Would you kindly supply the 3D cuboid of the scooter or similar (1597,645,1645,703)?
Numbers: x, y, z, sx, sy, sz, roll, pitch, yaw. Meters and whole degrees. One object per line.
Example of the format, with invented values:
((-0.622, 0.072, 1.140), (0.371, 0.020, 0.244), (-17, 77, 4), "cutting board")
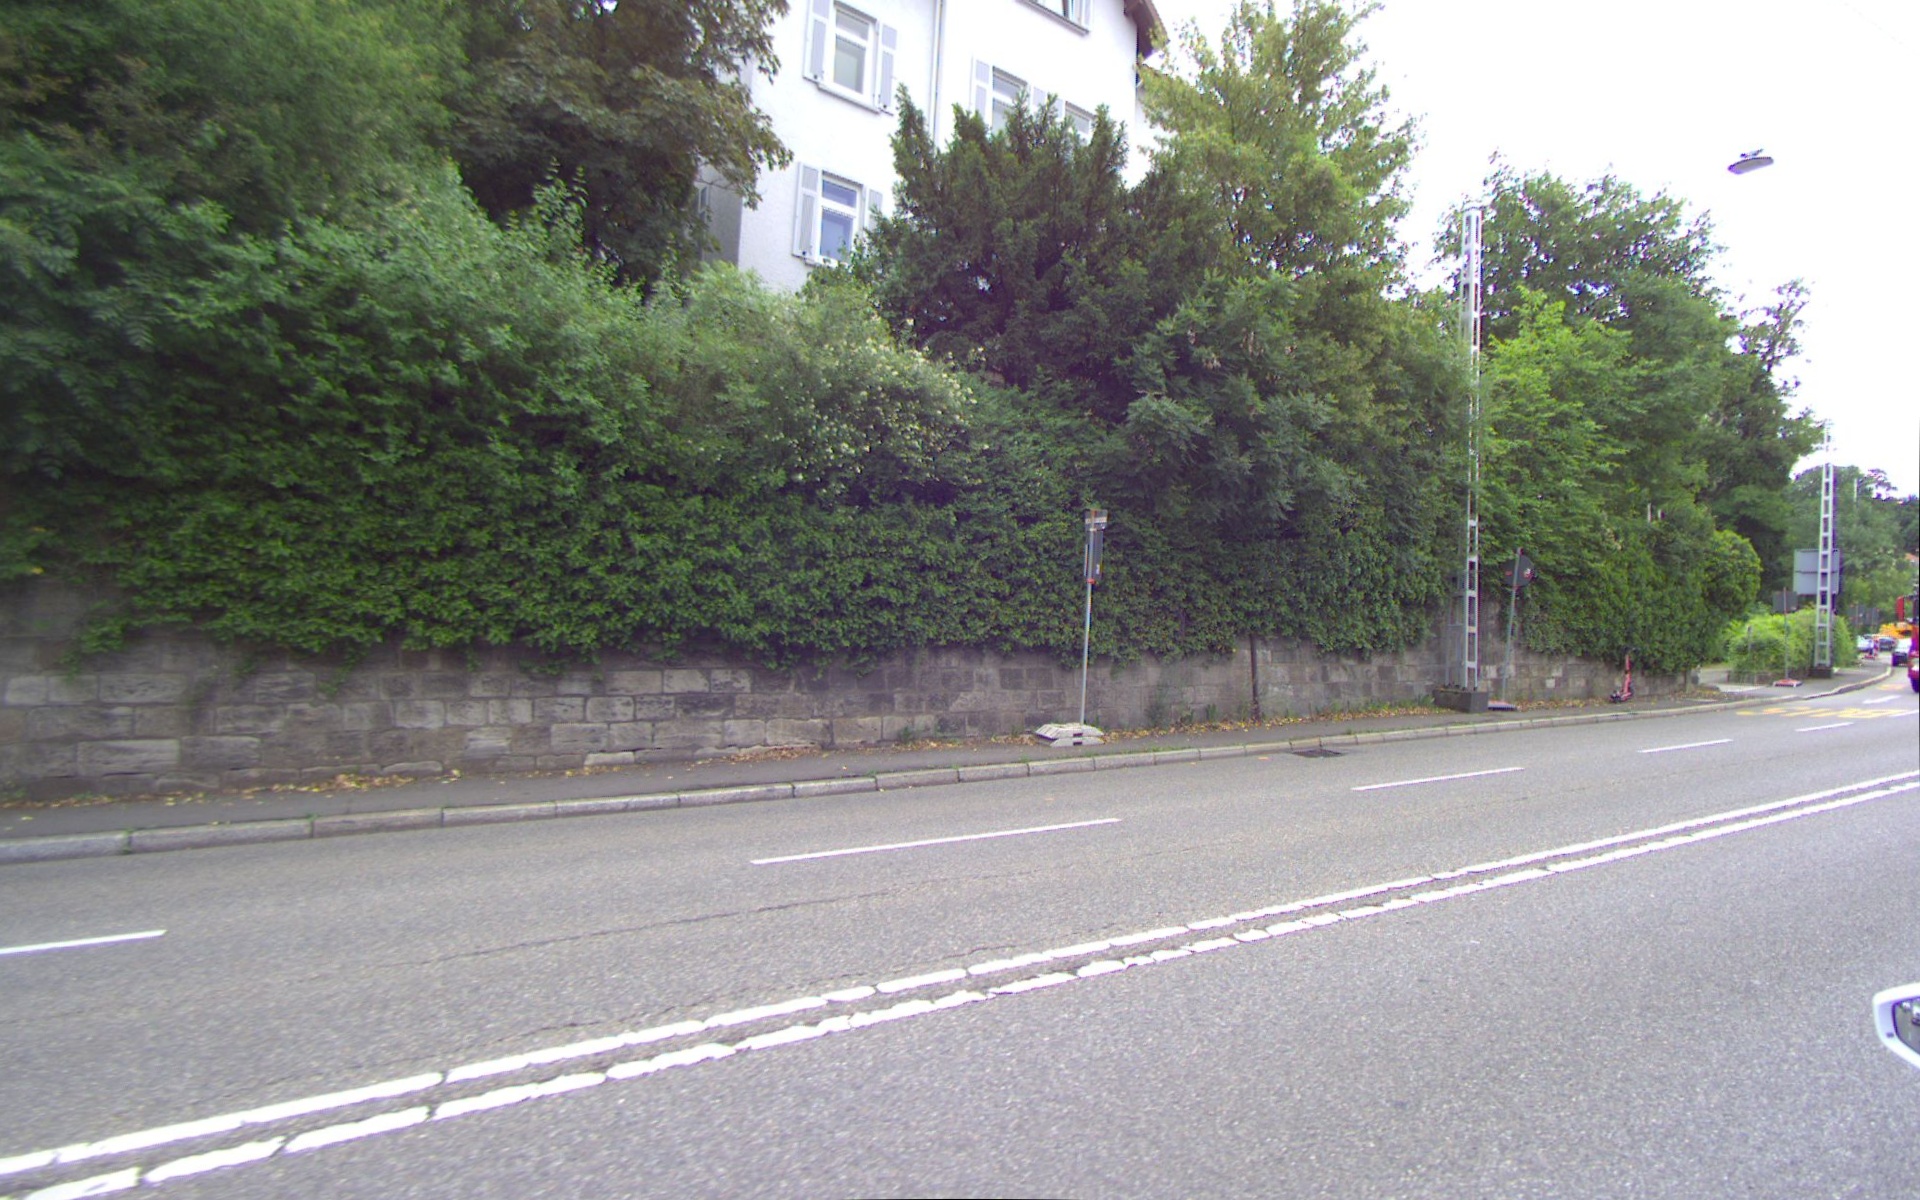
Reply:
((14.618, 1.618, 22.198), (1.269, 1.221, 0.533), (2, 0, -41), "scooter or similar")

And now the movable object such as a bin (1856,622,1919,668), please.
((80.707, 3.878, 86.712), (3.481, 3.748, 7.480), (-1, -2, 30), "movable object such as a bin")

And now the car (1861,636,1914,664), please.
((48.871, 2.632, 52.986), (1.874, 1.400, 3.980), (-2, -3, 41), "car")

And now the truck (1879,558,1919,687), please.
((32.097, 0.743, 31.522), (9.825, 3.746, 2.925), (2, -4, -37), "truck")

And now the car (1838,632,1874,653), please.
((68.209, 3.233, 76.493), (1.873, 1.514, 3.982), (-2, -3, 39), "car")
